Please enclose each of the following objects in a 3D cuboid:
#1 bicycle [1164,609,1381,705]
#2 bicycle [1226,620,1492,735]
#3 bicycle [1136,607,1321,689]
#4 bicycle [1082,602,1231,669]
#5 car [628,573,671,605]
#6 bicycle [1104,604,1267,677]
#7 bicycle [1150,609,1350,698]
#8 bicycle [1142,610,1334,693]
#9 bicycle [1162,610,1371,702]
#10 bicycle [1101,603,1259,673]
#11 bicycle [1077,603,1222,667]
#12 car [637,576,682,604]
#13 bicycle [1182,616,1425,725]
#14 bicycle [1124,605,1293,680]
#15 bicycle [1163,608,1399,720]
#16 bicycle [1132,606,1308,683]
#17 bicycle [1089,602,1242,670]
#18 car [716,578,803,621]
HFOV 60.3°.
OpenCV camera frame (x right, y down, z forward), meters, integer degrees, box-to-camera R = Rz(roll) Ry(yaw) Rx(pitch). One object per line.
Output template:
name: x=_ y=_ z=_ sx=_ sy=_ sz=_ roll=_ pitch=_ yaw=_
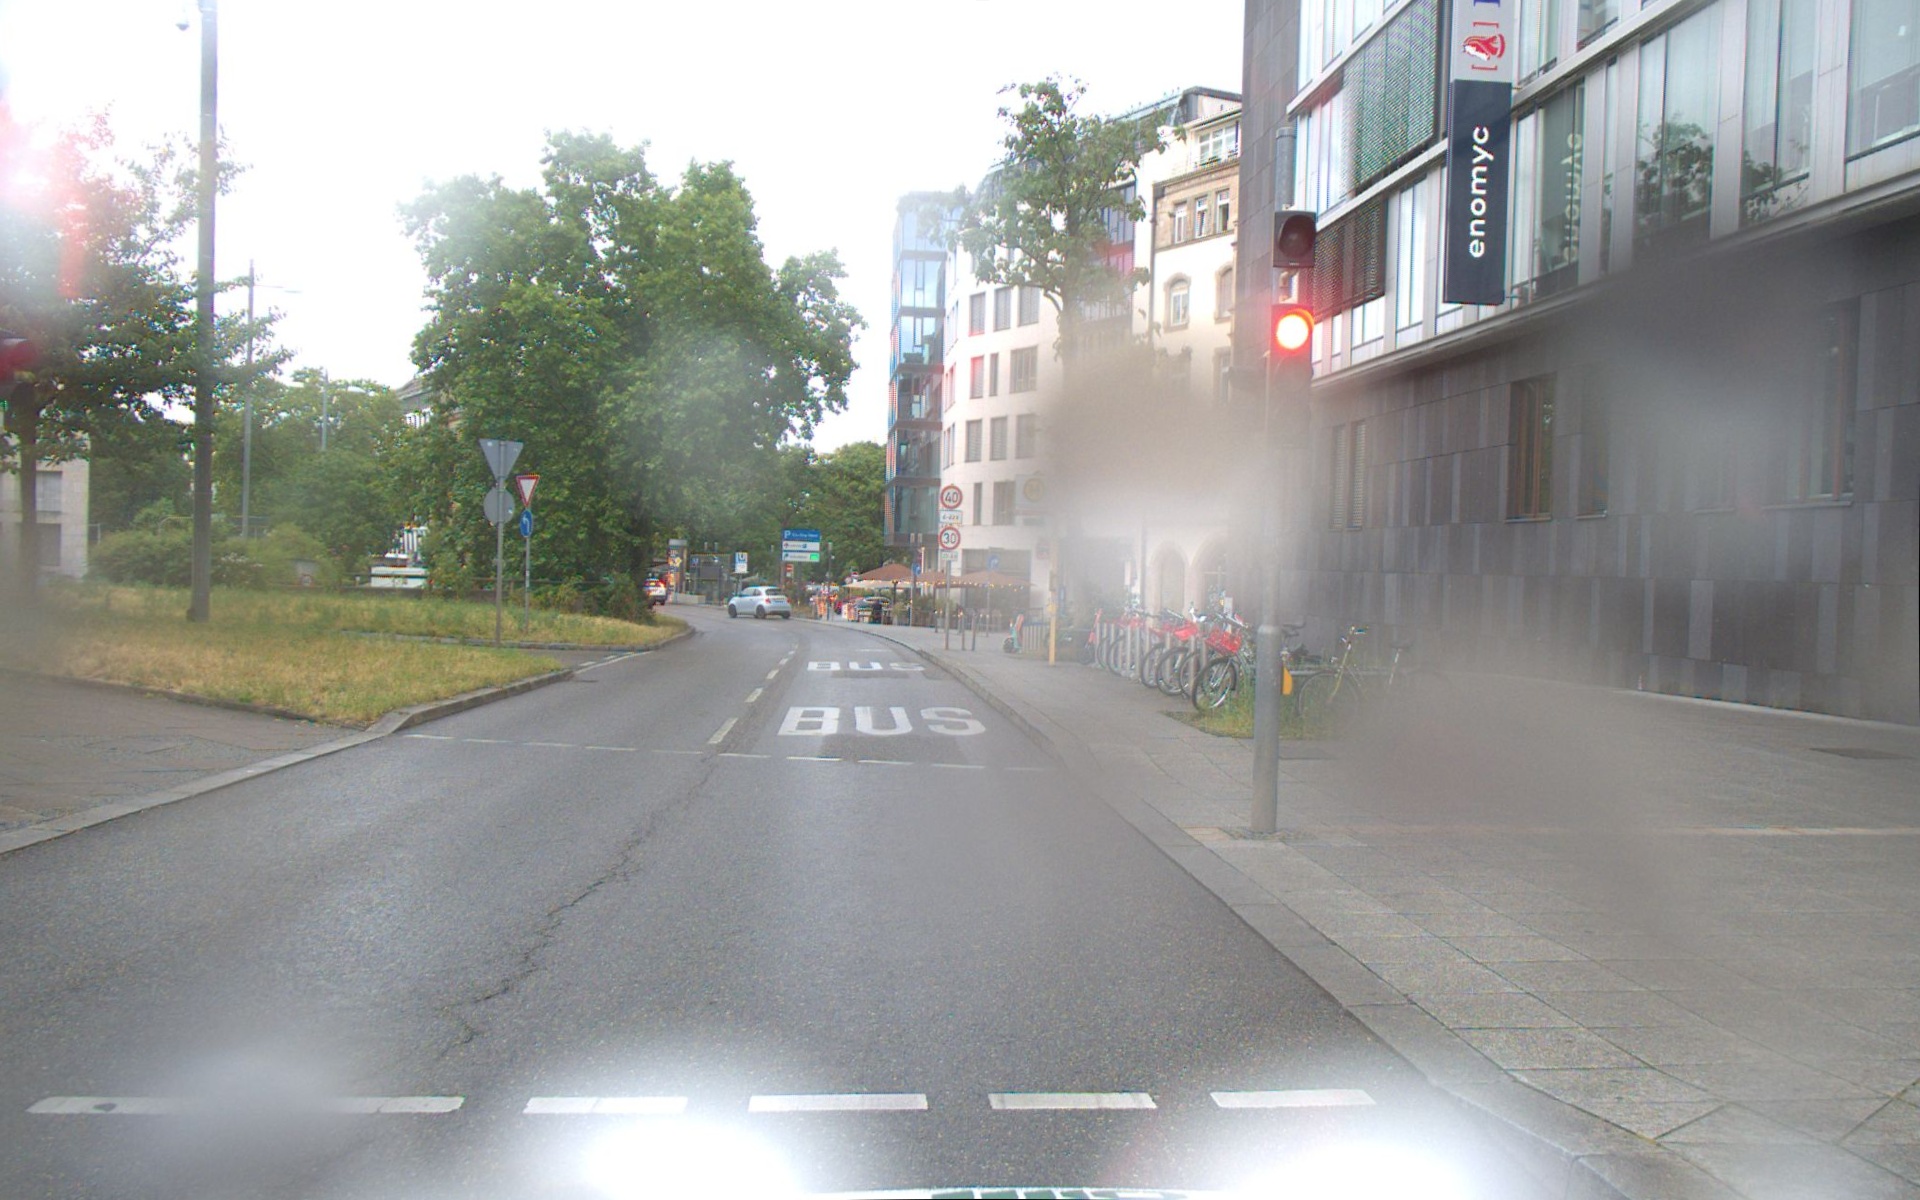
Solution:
bicycle: x=3.768 y=0.684 z=20.004 sx=2.486 sy=1.106 sz=0.677 roll=1 pitch=0 yaw=-6
bicycle: x=3.962 y=0.767 z=16.501 sx=2.487 sy=1.075 sz=0.677 roll=1 pitch=0 yaw=-6
bicycle: x=3.792 y=0.675 z=23.445 sx=2.486 sy=1.106 sz=0.677 roll=1 pitch=0 yaw=-6
bicycle: x=3.422 y=0.616 z=28.842 sx=2.486 sy=1.106 sz=0.677 roll=1 pitch=0 yaw=-6
car: x=-18.050 y=-0.638 z=96.089 sx=2.126 sy=1.735 sz=4.536 roll=2 pitch=0 yaw=-15
bicycle: x=3.591 y=0.643 z=26.456 sx=2.486 sy=1.106 sz=0.677 roll=1 pitch=0 yaw=-6
bicycle: x=3.784 y=0.695 z=21.669 sx=2.486 sy=1.106 sz=0.677 roll=1 pitch=0 yaw=-6
bicycle: x=3.777 y=0.694 z=22.536 sx=2.486 sy=1.078 sz=0.677 roll=1 pitch=0 yaw=-6
bicycle: x=3.852 y=0.703 z=20.860 sx=2.486 sy=1.106 sz=0.677 roll=1 pitch=0 yaw=-6
bicycle: x=3.614 y=0.624 z=27.209 sx=2.486 sy=1.106 sz=0.677 roll=1 pitch=0 yaw=-6
bicycle: x=3.376 y=0.622 z=29.563 sx=2.486 sy=1.106 sz=0.627 roll=1 pitch=0 yaw=-6
car: x=-19.531 y=-0.678 z=107.431 sx=2.147 sy=1.730 sz=3.976 roll=2 pitch=0 yaw=-20
bicycle: x=3.717 y=0.758 z=17.974 sx=2.487 sy=1.106 sz=0.677 roll=1 pitch=0 yaw=-6
bicycle: x=3.839 y=0.652 z=25.621 sx=2.486 sy=1.106 sz=0.677 roll=1 pitch=0 yaw=-6
bicycle: x=3.629 y=0.724 z=18.776 sx=2.487 sy=1.106 sz=0.677 roll=3 pitch=0 yaw=-6
bicycle: x=3.864 y=0.657 z=24.643 sx=2.486 sy=1.106 sz=0.677 roll=1 pitch=0 yaw=-6
bicycle: x=3.479 y=0.607 z=28.096 sx=2.486 sy=1.106 sz=0.677 roll=1 pitch=0 yaw=-6
car: x=-9.748 y=-0.042 z=80.134 sx=3.931 sy=1.675 sz=1.988 roll=6 pitch=0 yaw=42
